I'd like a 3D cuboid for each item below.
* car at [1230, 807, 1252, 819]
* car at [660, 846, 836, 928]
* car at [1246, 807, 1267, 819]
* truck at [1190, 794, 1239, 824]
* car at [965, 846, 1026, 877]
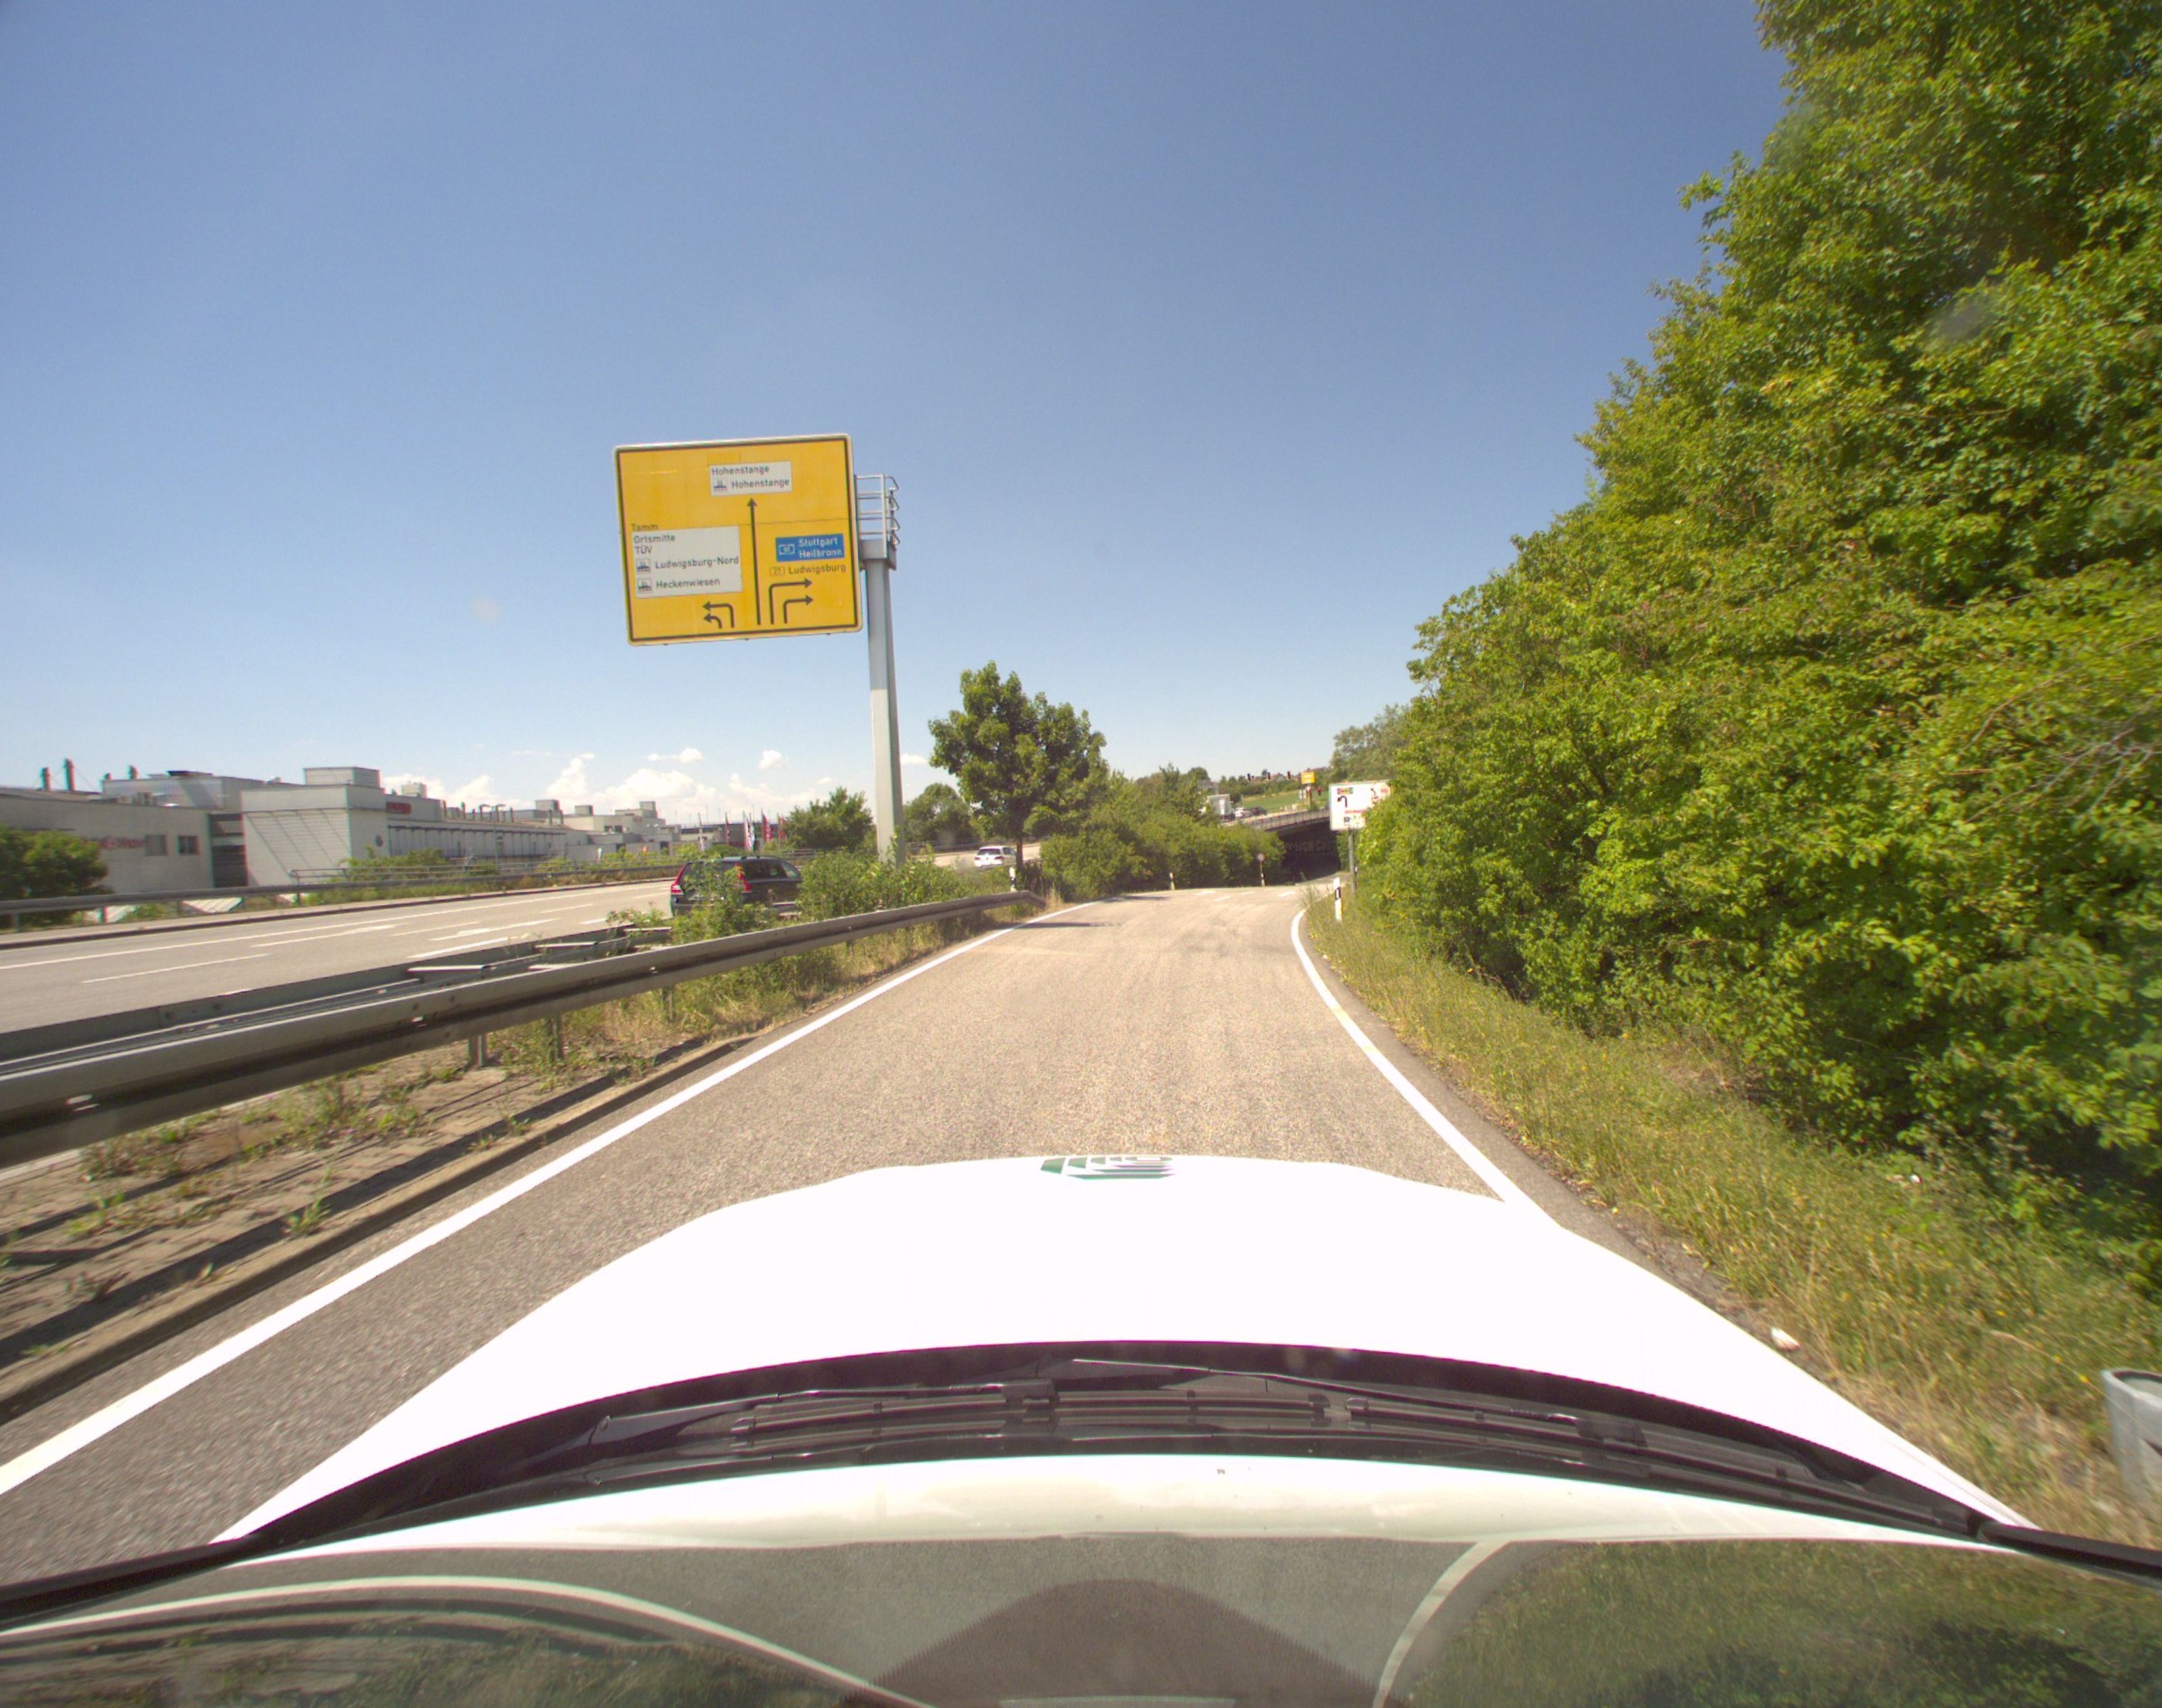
[{"bbox_3d":[22.407,-5.710,113.973,1.879,1.363,4.025,-1,0,31],"label":"car"},{"bbox_3d":[-7.311,0.648,18.492,1.724,1.545,4.739,-3,0,3],"label":"car"},{"bbox_3d":[25.884,-6.036,120.135,1.975,1.618,4.024,-1,0,26],"label":"car"},{"bbox_3d":[17.844,-6.038,108.127,2.998,3.589,8.961,-4,1,32],"label":"truck"},{"bbox_3d":[-4.453,0.351,43.086,1.980,1.486,4.148,-2,0,11],"label":"car"}]
